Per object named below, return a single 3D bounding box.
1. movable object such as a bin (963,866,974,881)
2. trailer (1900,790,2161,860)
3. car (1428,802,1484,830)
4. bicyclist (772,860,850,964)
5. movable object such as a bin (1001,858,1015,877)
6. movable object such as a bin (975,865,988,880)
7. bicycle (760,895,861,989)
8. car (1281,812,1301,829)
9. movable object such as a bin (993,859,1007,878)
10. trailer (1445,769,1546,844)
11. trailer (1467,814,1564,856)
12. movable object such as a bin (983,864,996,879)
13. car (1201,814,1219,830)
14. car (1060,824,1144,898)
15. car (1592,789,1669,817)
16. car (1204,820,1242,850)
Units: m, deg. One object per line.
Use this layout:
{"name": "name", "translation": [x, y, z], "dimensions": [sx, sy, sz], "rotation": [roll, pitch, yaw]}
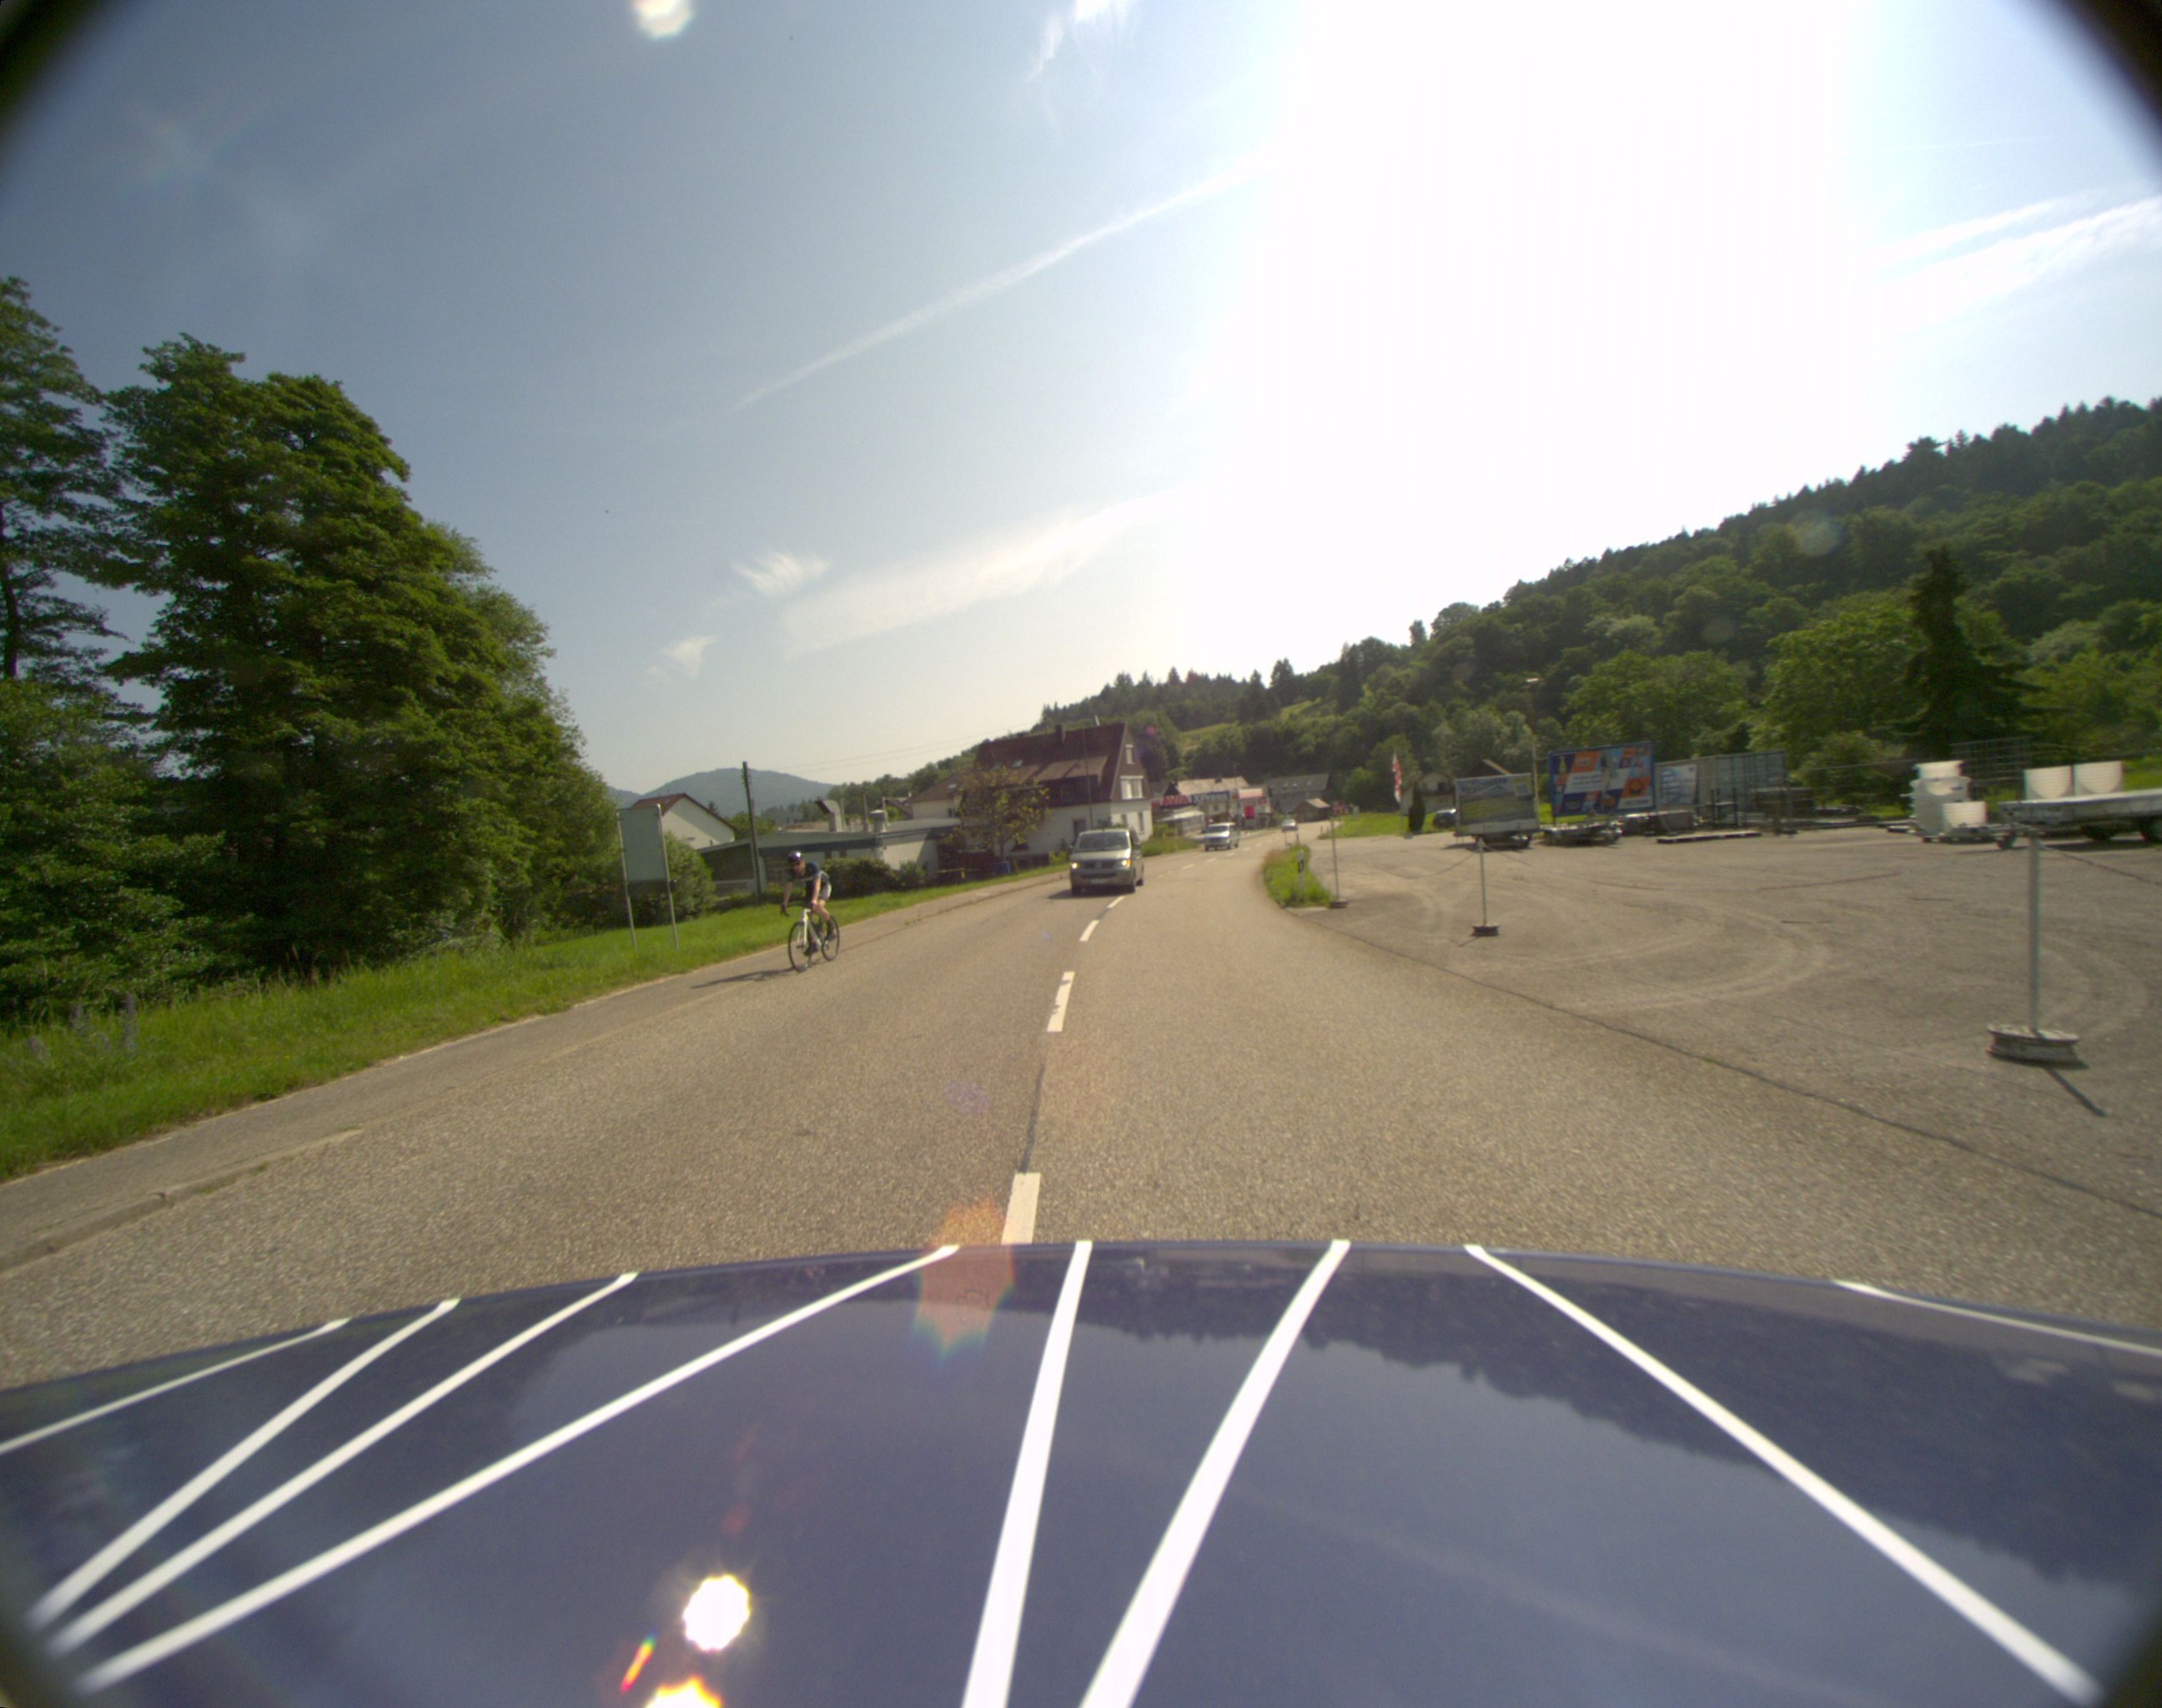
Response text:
{"name": "movable object such as a bin", "translation": [-7.497, 1.307, 50.499], "dimensions": [0.419, 0.895, 0.586], "rotation": [-6, 3, 12]}
{"name": "trailer", "translation": [19.823, -0.592, 15.403], "dimensions": [3.938, 0.934, 1.869], "rotation": [-6, 3, 19]}
{"name": "car", "translation": [27.471, -2.813, 55.595], "dimensions": [4.915, 1.639, 1.831], "rotation": [-6, 2, -40]}
{"name": "bicyclist", "translation": [-3.746, 0.771, 10.608], "dimensions": [0.581, 1.335, 1.145], "rotation": [-1, 2, 3]}
{"name": "movable object such as a bin", "translation": [-4.760, 0.894, 49.910], "dimensions": [0.569, 1.112, 0.793], "rotation": [-6, 3, 12]}
{"name": "movable object such as a bin", "translation": [-6.592, 1.208, 50.285], "dimensions": [0.569, 0.895, 0.586], "rotation": [-6, 3, 12]}
{"name": "bicycle", "translation": [-3.731, 1.181, 10.664], "dimensions": [0.581, 1.029, 1.990], "rotation": [-1, 2, 3]}
{"name": "car", "translation": [25.820, -4.119, 93.457], "dimensions": [1.765, 1.736, 3.983], "rotation": [-5, 4, 23]}
{"name": "movable object such as a bin", "translation": [-5.338, 0.958, 50.029], "dimensions": [0.569, 1.112, 0.799], "rotation": [-6, 3, 12]}
{"name": "trailer", "translation": [18.376, -2.070, 33.831], "dimensions": [3.397, 2.896, 1.885], "rotation": [-6, 2, 15]}
{"name": "trailer", "translation": [16.504, -0.800, 29.189], "dimensions": [1.996, 1.220, 5.550], "rotation": [-6, 2, 17]}
{"name": "movable object such as a bin", "translation": [-6.018, 1.144, 50.166], "dimensions": [0.569, 0.895, 0.586], "rotation": [-6, 3, 12]}
{"name": "car", "translation": [18.155, -4.514, 106.788], "dimensions": [1.682, 1.806, 4.003], "rotation": [-6, 3, 21]}
{"name": "car", "translation": [0.795, 0.105, 23.901], "dimensions": [2.022, 1.971, 5.049], "rotation": [-2, 3, 8]}
{"name": "car", "translation": [35.747, -3.317, 49.509], "dimensions": [3.923, 1.477, 1.920], "rotation": [-4, 2, 35]}
{"name": "car", "translation": [10.458, -1.421, 55.720], "dimensions": [1.893, 1.847, 4.707], "rotation": [-4, 2, 19]}
